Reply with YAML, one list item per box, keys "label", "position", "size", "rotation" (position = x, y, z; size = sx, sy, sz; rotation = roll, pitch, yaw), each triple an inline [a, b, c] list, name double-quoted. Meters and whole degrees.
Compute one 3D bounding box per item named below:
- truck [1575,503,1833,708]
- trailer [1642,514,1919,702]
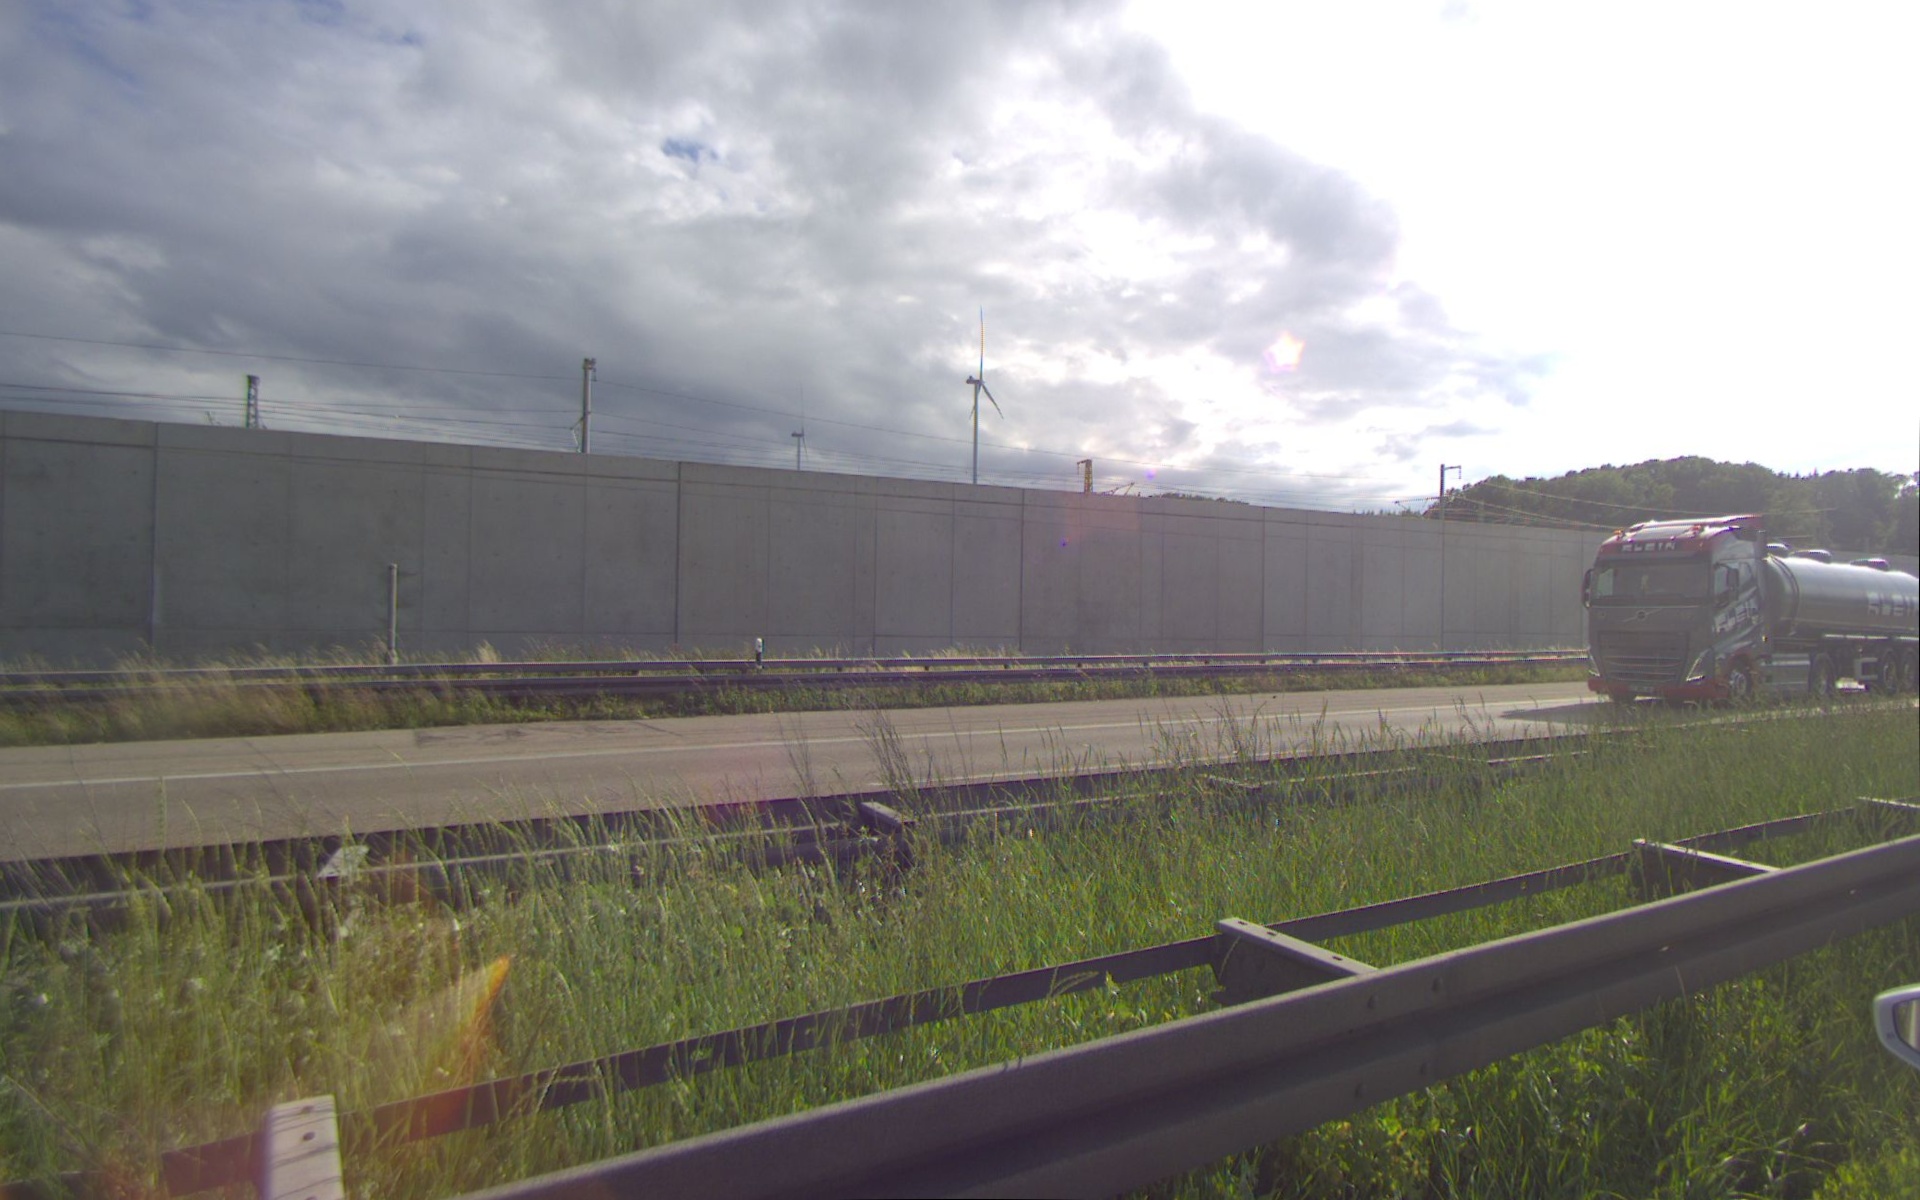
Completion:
- label: "truck"
  position: [16.422, 0.199, 22.110]
  size: [5.655, 3.974, 2.570]
  rotation: [1, -2, -31]
- label: "trailer"
  position: [21.074, 0.326, 24.912]
  size: [10.739, 3.953, 2.576]
  rotation: [2, -2, -31]
